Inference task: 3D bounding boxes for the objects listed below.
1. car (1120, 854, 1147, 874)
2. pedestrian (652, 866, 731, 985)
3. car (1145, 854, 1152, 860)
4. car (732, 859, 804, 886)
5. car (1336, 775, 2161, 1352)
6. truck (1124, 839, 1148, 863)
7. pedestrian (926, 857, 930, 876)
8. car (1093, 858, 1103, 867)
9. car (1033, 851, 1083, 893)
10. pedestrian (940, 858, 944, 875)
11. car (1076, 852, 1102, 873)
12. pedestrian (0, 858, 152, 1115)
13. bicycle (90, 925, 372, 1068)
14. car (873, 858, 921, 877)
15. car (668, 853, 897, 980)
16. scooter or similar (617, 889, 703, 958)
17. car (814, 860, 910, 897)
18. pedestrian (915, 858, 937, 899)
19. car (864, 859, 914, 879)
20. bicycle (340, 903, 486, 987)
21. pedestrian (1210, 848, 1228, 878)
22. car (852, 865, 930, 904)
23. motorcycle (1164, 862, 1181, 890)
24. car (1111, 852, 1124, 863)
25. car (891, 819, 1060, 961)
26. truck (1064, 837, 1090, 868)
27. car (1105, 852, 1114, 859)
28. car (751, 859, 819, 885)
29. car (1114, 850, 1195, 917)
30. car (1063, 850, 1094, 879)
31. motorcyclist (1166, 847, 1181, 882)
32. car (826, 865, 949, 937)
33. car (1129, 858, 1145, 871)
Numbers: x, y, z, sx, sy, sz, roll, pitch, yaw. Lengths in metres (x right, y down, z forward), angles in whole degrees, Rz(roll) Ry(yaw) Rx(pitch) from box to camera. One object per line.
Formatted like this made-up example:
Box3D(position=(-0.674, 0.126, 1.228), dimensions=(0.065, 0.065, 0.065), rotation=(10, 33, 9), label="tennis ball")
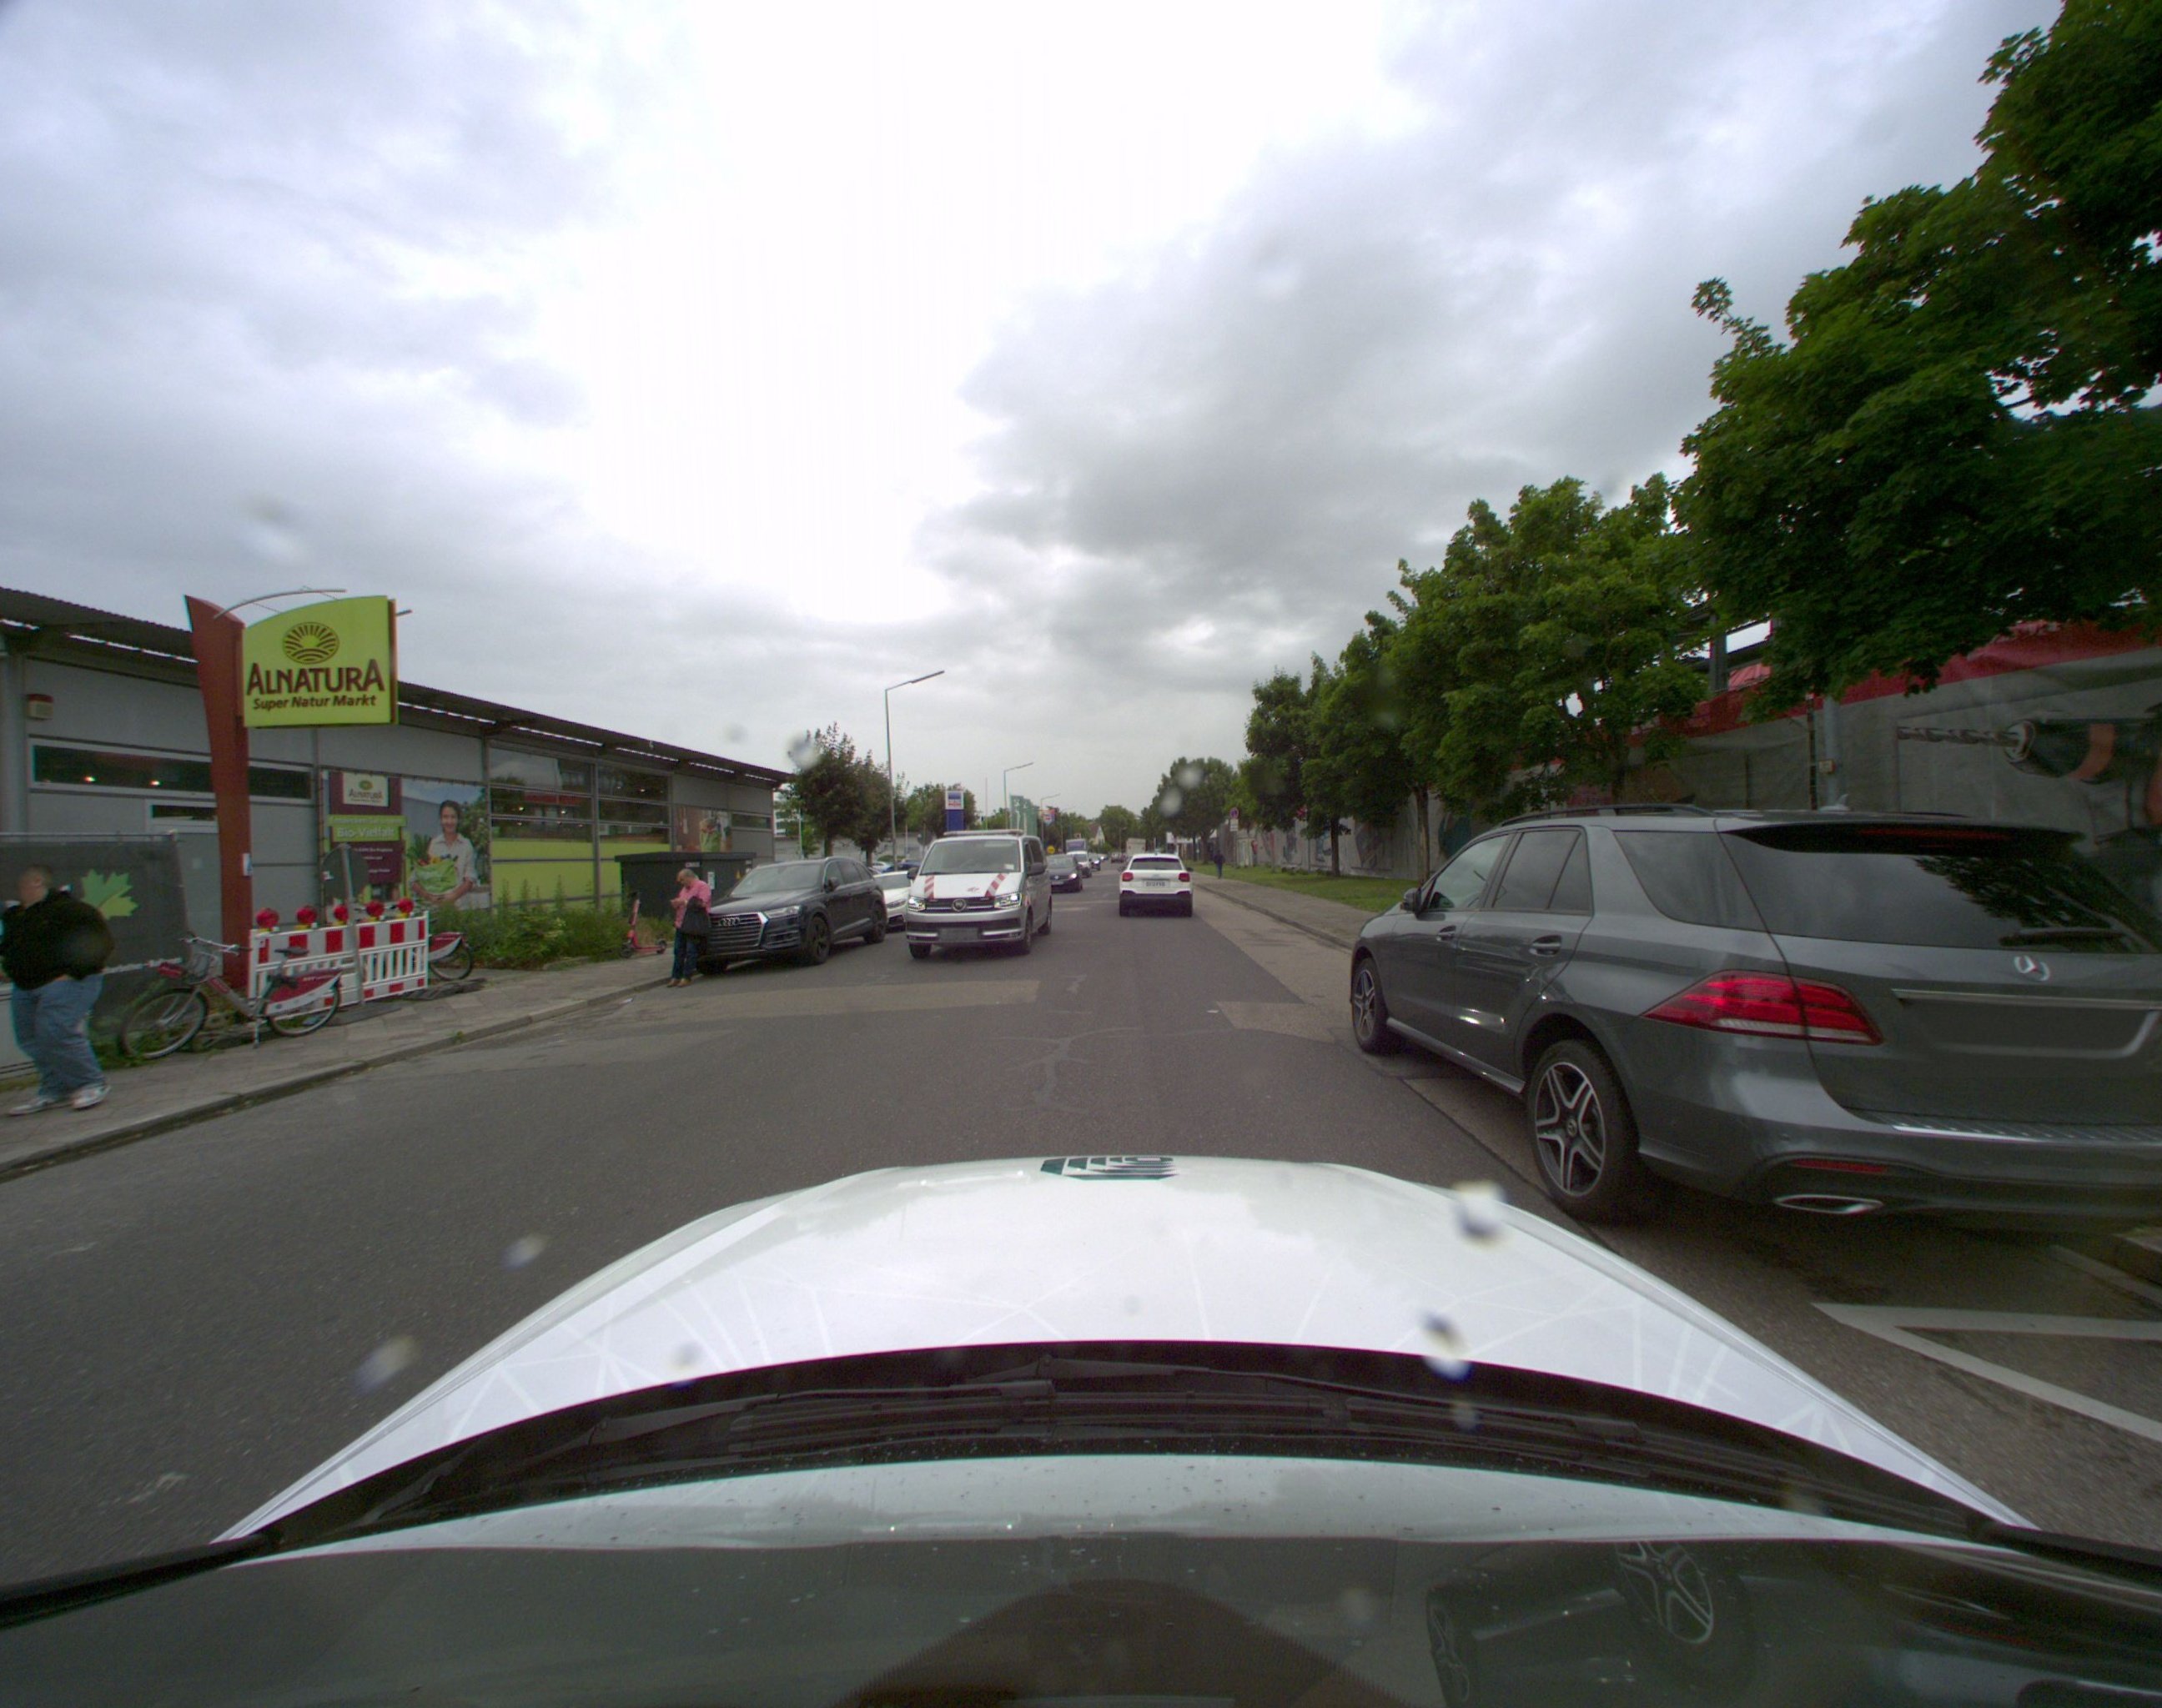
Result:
Box3D(position=(4.038, 0.753, 63.303), dimensions=(1.930, 1.367, 4.002), rotation=(-2, 0, 2), label="car")
Box3D(position=(-5.650, 1.016, 11.843), dimensions=(0.670, 1.621, 0.654), rotation=(-5, -1, 3), label="pedestrian")
Box3D(position=(18.090, 0.852, 217.965), dimensions=(1.878, 1.683, 4.258), rotation=(1, 0, 3), label="car")
Box3D(position=(-20.601, 1.208, 53.737), dimensions=(3.971, 1.669, 1.877), rotation=(-2, 0, 2), label="car")
Box3D(position=(3.037, 0.647, 4.757), dimensions=(1.900, 1.741, 4.484), rotation=(1, 0, 3), label="car")
Box3D(position=(8.281, -0.375, 123.436), dimensions=(3.123, 3.585, 10.052), rotation=(0, -1, 1), label="truck")
Box3D(position=(-14.192, 1.124, 75.578), dimensions=(0.262, 1.730, 0.421), rotation=(-1, 0, -10), label="pedestrian")
Box3D(position=(3.086, 1.503, 143.837), dimensions=(1.592, 1.528, 3.531), rotation=(-3, -1, 3), label="car")
Box3D(position=(-0.910, 0.711, 34.045), dimensions=(1.722, 1.571, 3.949), rotation=(-3, 0, 3), label="car")
Box3D(position=(-12.734, 1.119, 74.630), dimensions=(0.359, 1.570, 0.502), rotation=(-1, 0, -11), label="pedestrian")
Box3D(position=(0.771, 0.740, 73.390), dimensions=(1.924, 1.684, 4.501), rotation=(-3, 0, 5), label="car")
Box3D(position=(-7.388, 0.904, 5.965), dimensions=(0.691, 1.717, 0.688), rotation=(0, 2, -44), label="pedestrian")
Box3D(position=(-8.067, 1.294, 7.880), dimensions=(0.541, 1.077, 1.905), rotation=(-1, -1, 9), label="bicycle")
Box3D(position=(-17.491, 1.265, 77.542), dimensions=(3.971, 1.669, 1.877), rotation=(-2, 0, 2), label="car")
Box3D(position=(-4.884, 0.907, 14.202), dimensions=(1.857, 1.691, 4.733), rotation=(-5, 0, 4), label="car")
Box3D(position=(-7.982, 1.289, 15.524), dimensions=(0.658, 1.157, 1.644), rotation=(-2, 0, 4), label="scooter or similar")
Box3D(position=(-10.047, 1.108, 37.578), dimensions=(3.858, 1.620, 1.929), rotation=(0, 0, 2), label="car")
Box3D(position=(-6.590, 1.043, 34.618), dimensions=(0.773, 1.715, 0.696), rotation=(-1, 0, -2), label="pedestrian")
Box3D(position=(-17.643, 1.384, 74.929), dimensions=(3.971, 1.669, 1.877), rotation=(-2, 0, 2), label="car")
Box3D(position=(-9.284, 1.262, 11.342), dimensions=(1.654, 1.046, 0.392), rotation=(3, 0, 0), label="bicycle")
Box3D(position=(7.761, 0.505, 45.907), dimensions=(0.915, 1.635, 0.853), rotation=(0, -1, 4), label="pedestrian")
Box3D(position=(-10.413, 1.661, 44.907), dimensions=(3.923, 2.013, 1.758), rotation=(-1, 0, -5), label="car")
Box3D(position=(4.143, 0.977, 36.984), dimensions=(0.638, 1.178, 2.116), rotation=(-2, 0, 5), label="motorcycle")
Box3D(position=(5.824, 0.582, 131.281), dimensions=(1.863, 1.662, 4.000), rotation=(-2, 0, 1), label="car")
Box3D(position=(-1.611, 0.555, 14.396), dimensions=(1.918, 2.014, 4.961), rotation=(-2, -1, 4), label="car")
Box3D(position=(-0.440, -0.163, 109.757), dimensions=(2.961, 3.956, 6.410), rotation=(-3, 0, 3), label="truck")
Box3D(position=(6.828, 0.425, 194.854), dimensions=(1.770, 1.655, 3.744), rotation=(0, -1, -3), label="car")
Box3D(position=(-20.423, 1.235, 56.287), dimensions=(3.971, 1.669, 1.877), rotation=(-2, 0, 2), label="car")
Box3D(position=(1.828, 0.679, 21.053), dimensions=(1.878, 1.532, 4.258), rotation=(1, 0, 3), label="car")
Box3D(position=(-0.140, 0.685, 54.926), dimensions=(1.682, 1.761, 4.139), rotation=(-3, 0, 4), label="car")
Box3D(position=(4.214, 0.491, 37.041), dimensions=(0.622, 1.554, 0.605), rotation=(-2, 0, 4), label="motorcyclist")
Box3D(position=(-4.655, 1.078, 20.287), dimensions=(1.692, 1.367, 4.520), rotation=(-6, 0, 2), label="car")
Box3D(position=(7.813, 1.420, 113.957), dimensions=(1.986, 1.806, 4.001), rotation=(0, -1, 1), label="car")
